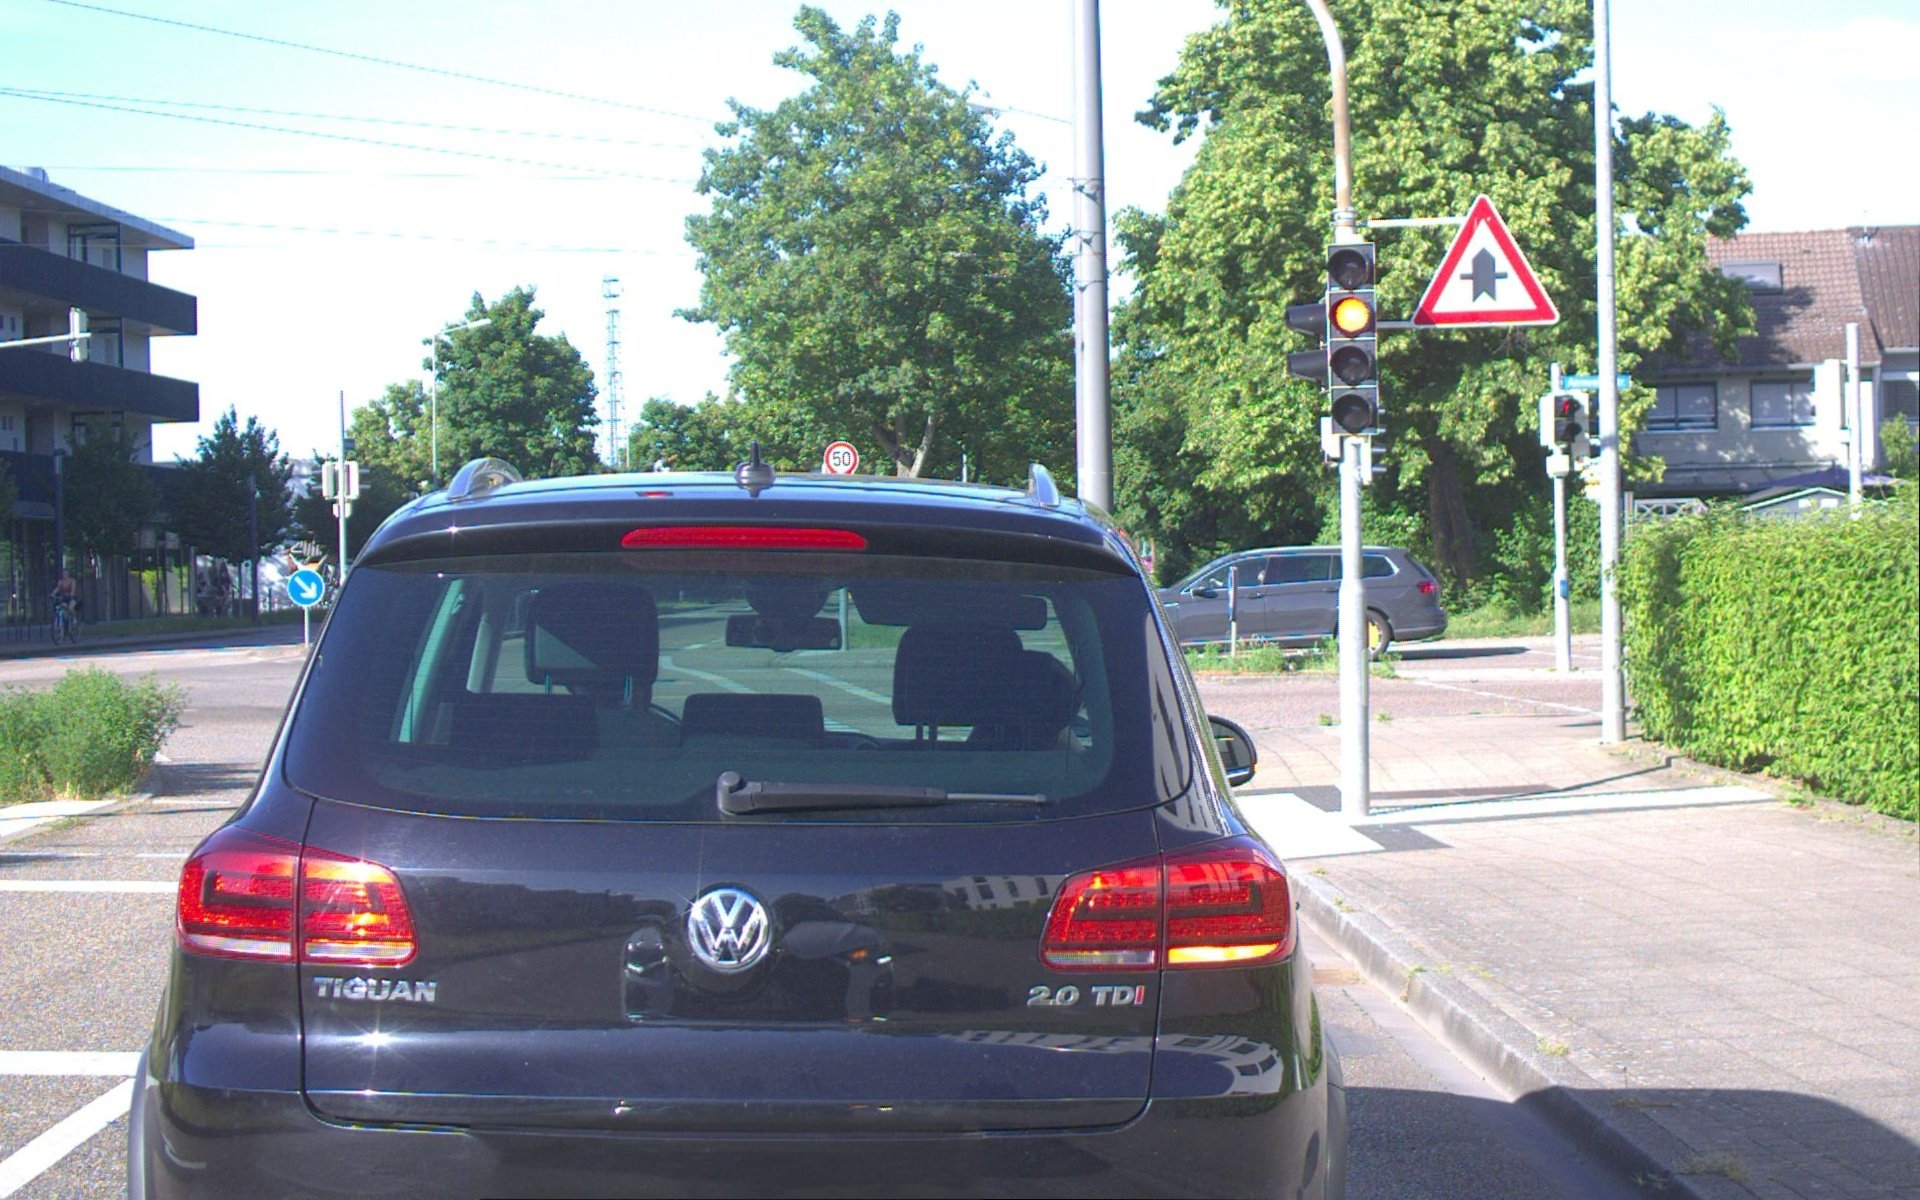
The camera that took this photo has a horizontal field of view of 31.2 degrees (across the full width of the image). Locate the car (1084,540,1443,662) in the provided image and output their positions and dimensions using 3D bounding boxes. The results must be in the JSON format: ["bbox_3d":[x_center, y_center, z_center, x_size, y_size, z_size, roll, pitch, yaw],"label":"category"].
[{"bbox_3d":[3.880,-0.007,44.264,4.498,1.499,2.000,0,1,4],"label":"car"}]

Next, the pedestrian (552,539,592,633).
[{"bbox_3d":[-6.749,-0.250,59.820,0.603,1.634,0.529,0,1,4],"label":"pedestrian"}]

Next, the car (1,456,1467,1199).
[{"bbox_3d":[-0.358,0.601,6.489,1.905,1.637,4.000,0,1,-2],"label":"car"}]

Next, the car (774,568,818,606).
[{"bbox_3d":[-7.187,-0.576,151.159,1.656,1.634,4.000,0,1,1],"label":"car"}]

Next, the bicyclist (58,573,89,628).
[{"bbox_3d":[-19.723,0.012,76.530,0.474,1.219,0.712,0,1,3],"label":"bicyclist"}]

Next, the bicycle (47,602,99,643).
[{"bbox_3d":[-19.733,0.492,76.525,0.496,0.845,2.078,0,1,3],"label":"bicycle"}]

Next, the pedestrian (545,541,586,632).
[{"bbox_3d":[-6.789,-0.241,59.196,0.603,1.559,0.529,0,1,4],"label":"pedestrian"}]
